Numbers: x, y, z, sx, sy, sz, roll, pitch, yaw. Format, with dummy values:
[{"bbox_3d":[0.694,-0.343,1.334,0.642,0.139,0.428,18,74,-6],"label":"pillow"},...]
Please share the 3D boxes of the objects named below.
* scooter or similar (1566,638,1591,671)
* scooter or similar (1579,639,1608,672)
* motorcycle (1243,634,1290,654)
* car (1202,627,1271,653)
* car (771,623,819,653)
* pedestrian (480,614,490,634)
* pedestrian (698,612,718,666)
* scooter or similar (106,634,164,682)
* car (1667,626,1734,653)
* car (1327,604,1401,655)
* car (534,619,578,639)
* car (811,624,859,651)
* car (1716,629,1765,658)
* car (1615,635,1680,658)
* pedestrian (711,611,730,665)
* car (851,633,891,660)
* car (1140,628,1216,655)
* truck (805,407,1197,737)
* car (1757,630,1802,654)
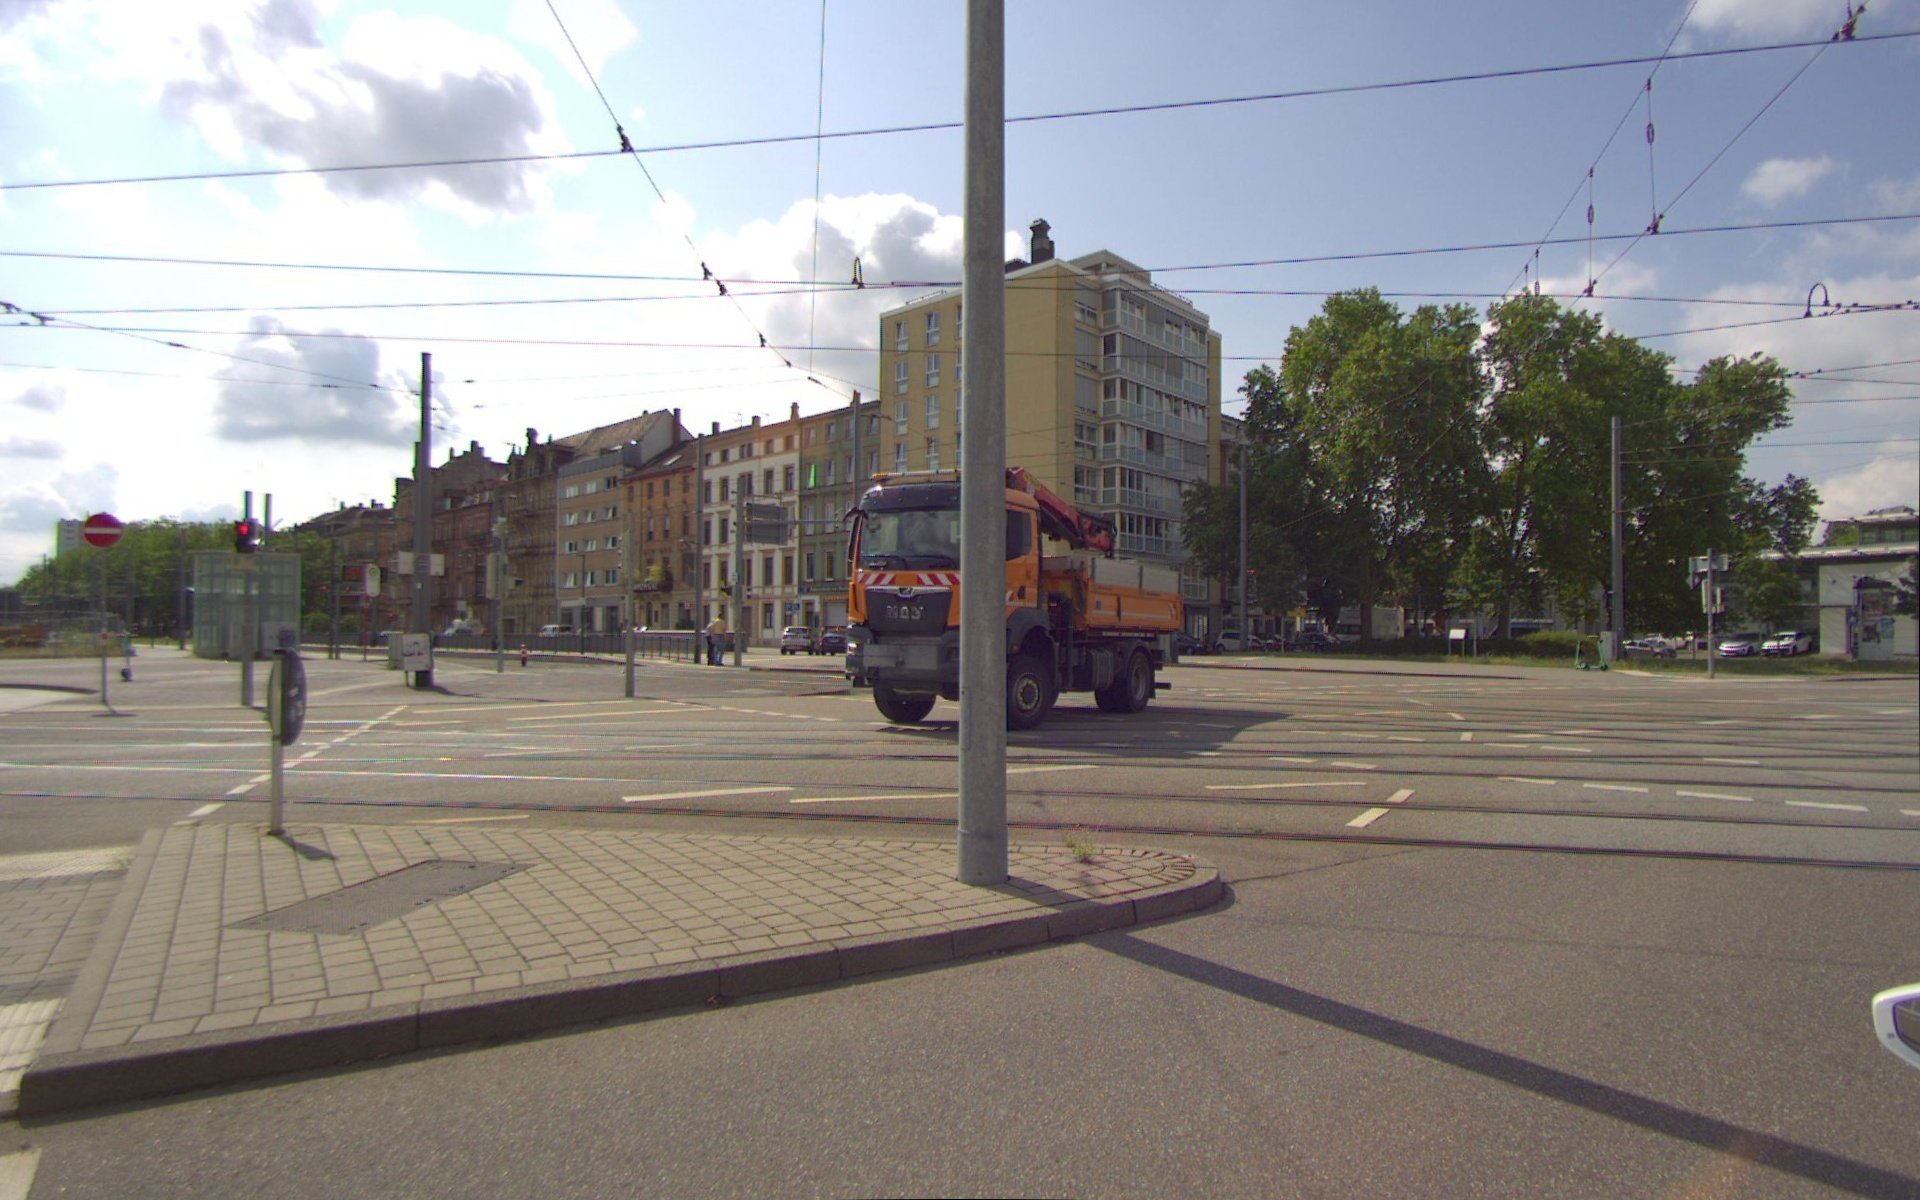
[{"bbox_3d":[24.014,2.098,39.023,0.374,1.212,1.065,2,0,6],"label":"scooter or similar"},{"bbox_3d":[24.574,2.160,38.964,0.374,1.212,1.064,2,0,-4],"label":"scooter or similar"},{"bbox_3d":[16.665,2.387,54.628,2.248,1.043,0.975,1,-3,2],"label":"motorcycle"},{"bbox_3d":[18.547,2.657,67.464,4.036,1.534,1.799,1,-1,42],"label":"car"},{"bbox_3d":[-9.794,2.254,59.901,2.021,1.669,4.597,0,-2,1],"label":"car"},{"bbox_3d":[-47.432,2.406,100.262,0.681,1.928,0.664,-1,-1,25],"label":"pedestrian"},{"bbox_3d":[-9.748,1.505,38.835,0.507,2.040,0.502,-1,-2,31],"label":"pedestrian"},{"bbox_3d":[-20.907,1.444,25.456,1.148,1.182,0.810,-1,-2,34],"label":"scooter or similar"},{"bbox_3d":[61.146,3.241,83.001,1.973,2.040,3.974,2,0,-25],"label":"car"},{"bbox_3d":[26.139,1.933,64.805,1.972,3.083,7.207,-1,-2,43],"label":"car"},{"bbox_3d":[-40.298,2.892,100.068,4.678,1.886,1.992,-2,-3,38],"label":"car"},{"bbox_3d":[-7.125,2.158,57.607,1.900,1.479,4.603,1,-2,4],"label":"car"},{"bbox_3d":[58.287,3.261,74.993,3.967,2.040,1.977,2,0,-39],"label":"car"},{"bbox_3d":[51.551,3.460,75.402,1.653,1.508,3.652,1,1,-30],"label":"car"},{"bbox_3d":[-9.110,1.452,38.225,0.568,2.040,0.426,-1,-2,32],"label":"pedestrian"},{"bbox_3d":[-4.936,2.593,56.053,1.743,1.472,3.499,0,-3,3],"label":"car"},{"bbox_3d":[12.852,2.446,59.353,4.037,1.534,1.799,-1,-2,42],"label":"car"},{"bbox_3d":[1.193,-0.229,16.514,2.788,4.061,8.052,-1,-2,32],"label":"truck"},{"bbox_3d":[59.748,3.071,73.209,3.967,1.704,1.771,2,-2,-40],"label":"car"}]
